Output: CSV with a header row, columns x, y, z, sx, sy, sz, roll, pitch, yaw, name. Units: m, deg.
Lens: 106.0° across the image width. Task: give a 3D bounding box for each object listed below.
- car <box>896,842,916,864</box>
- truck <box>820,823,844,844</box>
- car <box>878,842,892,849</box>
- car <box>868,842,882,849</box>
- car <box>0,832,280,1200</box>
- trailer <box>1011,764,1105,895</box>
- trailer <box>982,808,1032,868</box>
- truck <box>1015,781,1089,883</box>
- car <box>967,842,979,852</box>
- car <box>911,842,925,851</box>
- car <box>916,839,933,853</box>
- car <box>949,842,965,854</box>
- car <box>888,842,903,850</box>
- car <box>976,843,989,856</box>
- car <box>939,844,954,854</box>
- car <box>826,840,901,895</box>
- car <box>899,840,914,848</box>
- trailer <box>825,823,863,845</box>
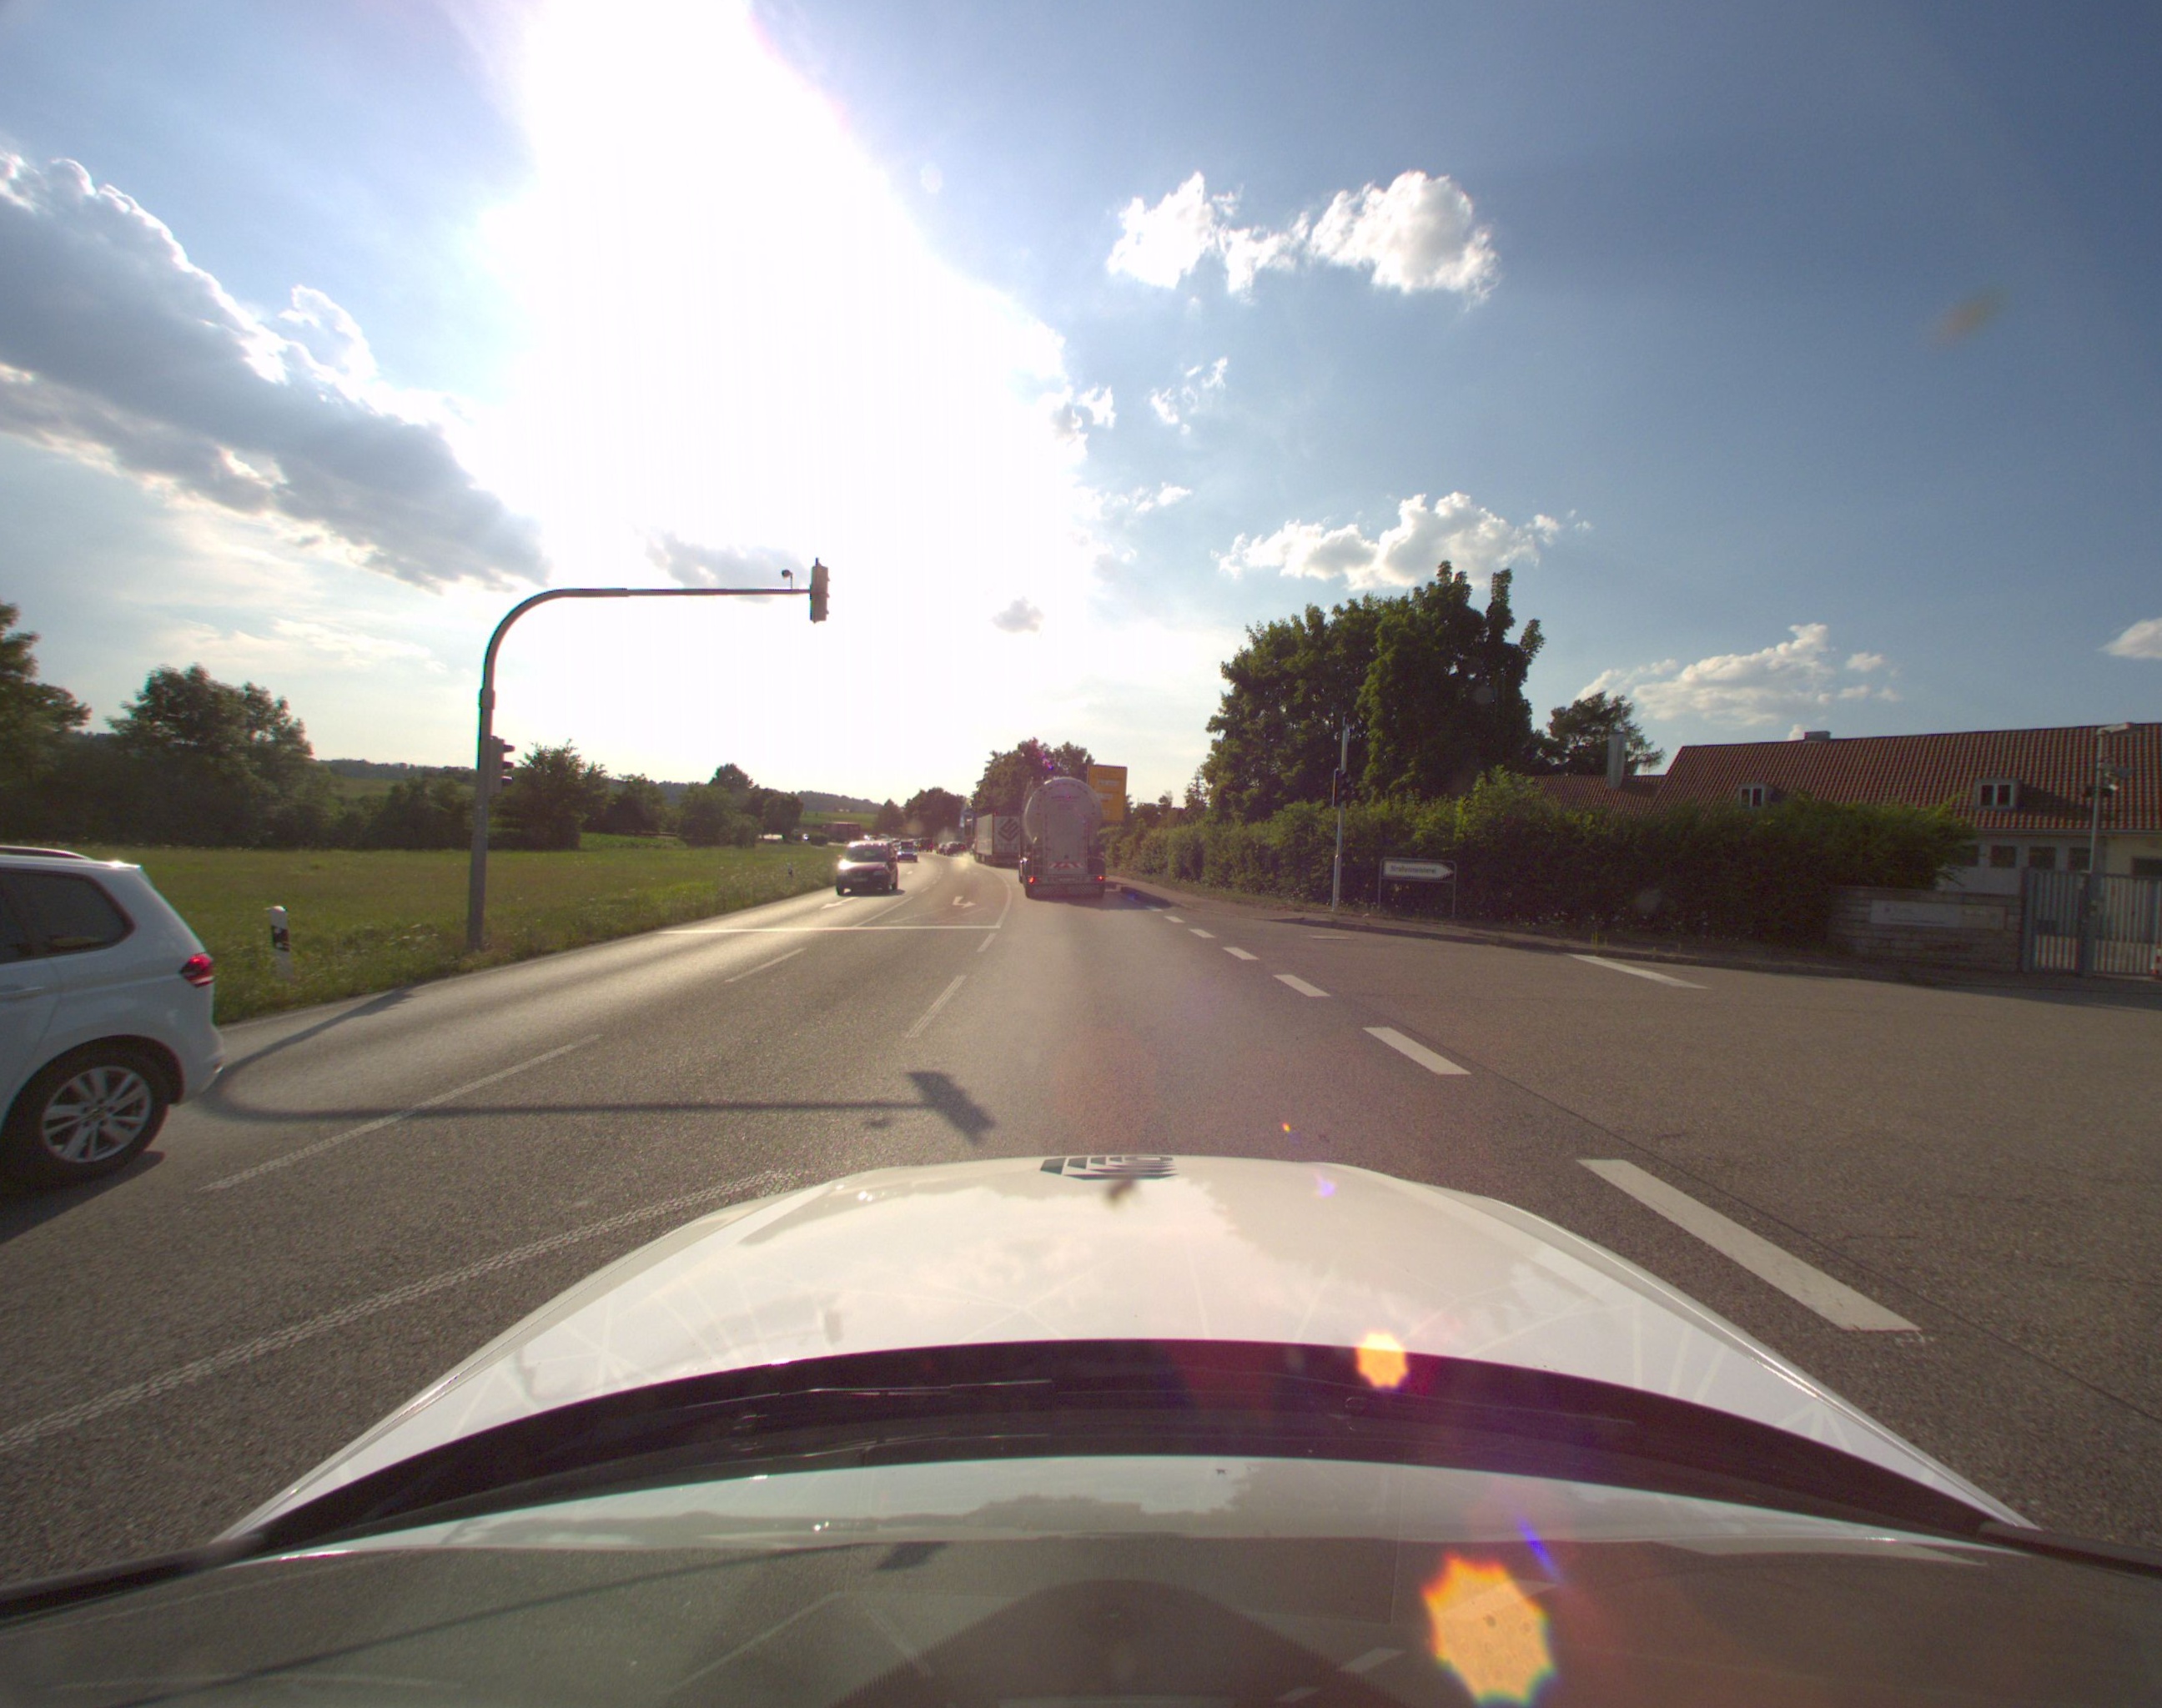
x,y,z,sx,sy,sz,roll,pitch,yaw,name
-15.938,-0.114,74.223,1.726,1.882,4.317,-1,1,-13,car
-53.769,-4.377,175.753,3.399,4.350,5.647,1,1,-33,truck
-35.442,-1.557,147.304,1.589,1.340,3.395,1,1,-27,car
-38.854,-1.603,153.351,1.779,1.205,3.395,1,1,-27,car
-5.577,0.729,2.561,1.876,1.586,4.327,-1,1,-2,car
-0.982,-0.807,30.013,2.903,4.006,9.918,0,1,-3,trailer
-6.317,-1.291,67.242,2.955,4.315,14.128,1,1,-10,trailer
-1.235,-0.898,34.234,2.903,4.006,4.056,0,1,-3,truck
-15.726,-1.025,118.443,1.674,1.340,3.415,1,1,-9,car
-25.537,-1.167,127.580,1.420,1.432,3.122,0,-1,-24,car
-23.184,-1.208,120.482,1.868,2.013,3.694,0,1,-21,car
-15.083,-0.762,99.015,1.582,1.340,3.410,1,1,-13,car
-31.852,-1.417,139.792,1.589,1.340,3.395,1,1,-27,car
-12.579,-0.594,103.613,1.420,1.508,3.415,1,1,-9,car
-17.724,-0.666,106.952,1.583,1.340,3.408,1,1,-15,car
-7.642,0.425,29.048,1.878,1.775,4.313,-1,1,-6,car
-28.782,-1.650,134.101,1.589,1.340,3.395,1,1,-27,car
-49.252,-4.195,168.802,3.399,4.350,14.147,1,1,-33,trailer
